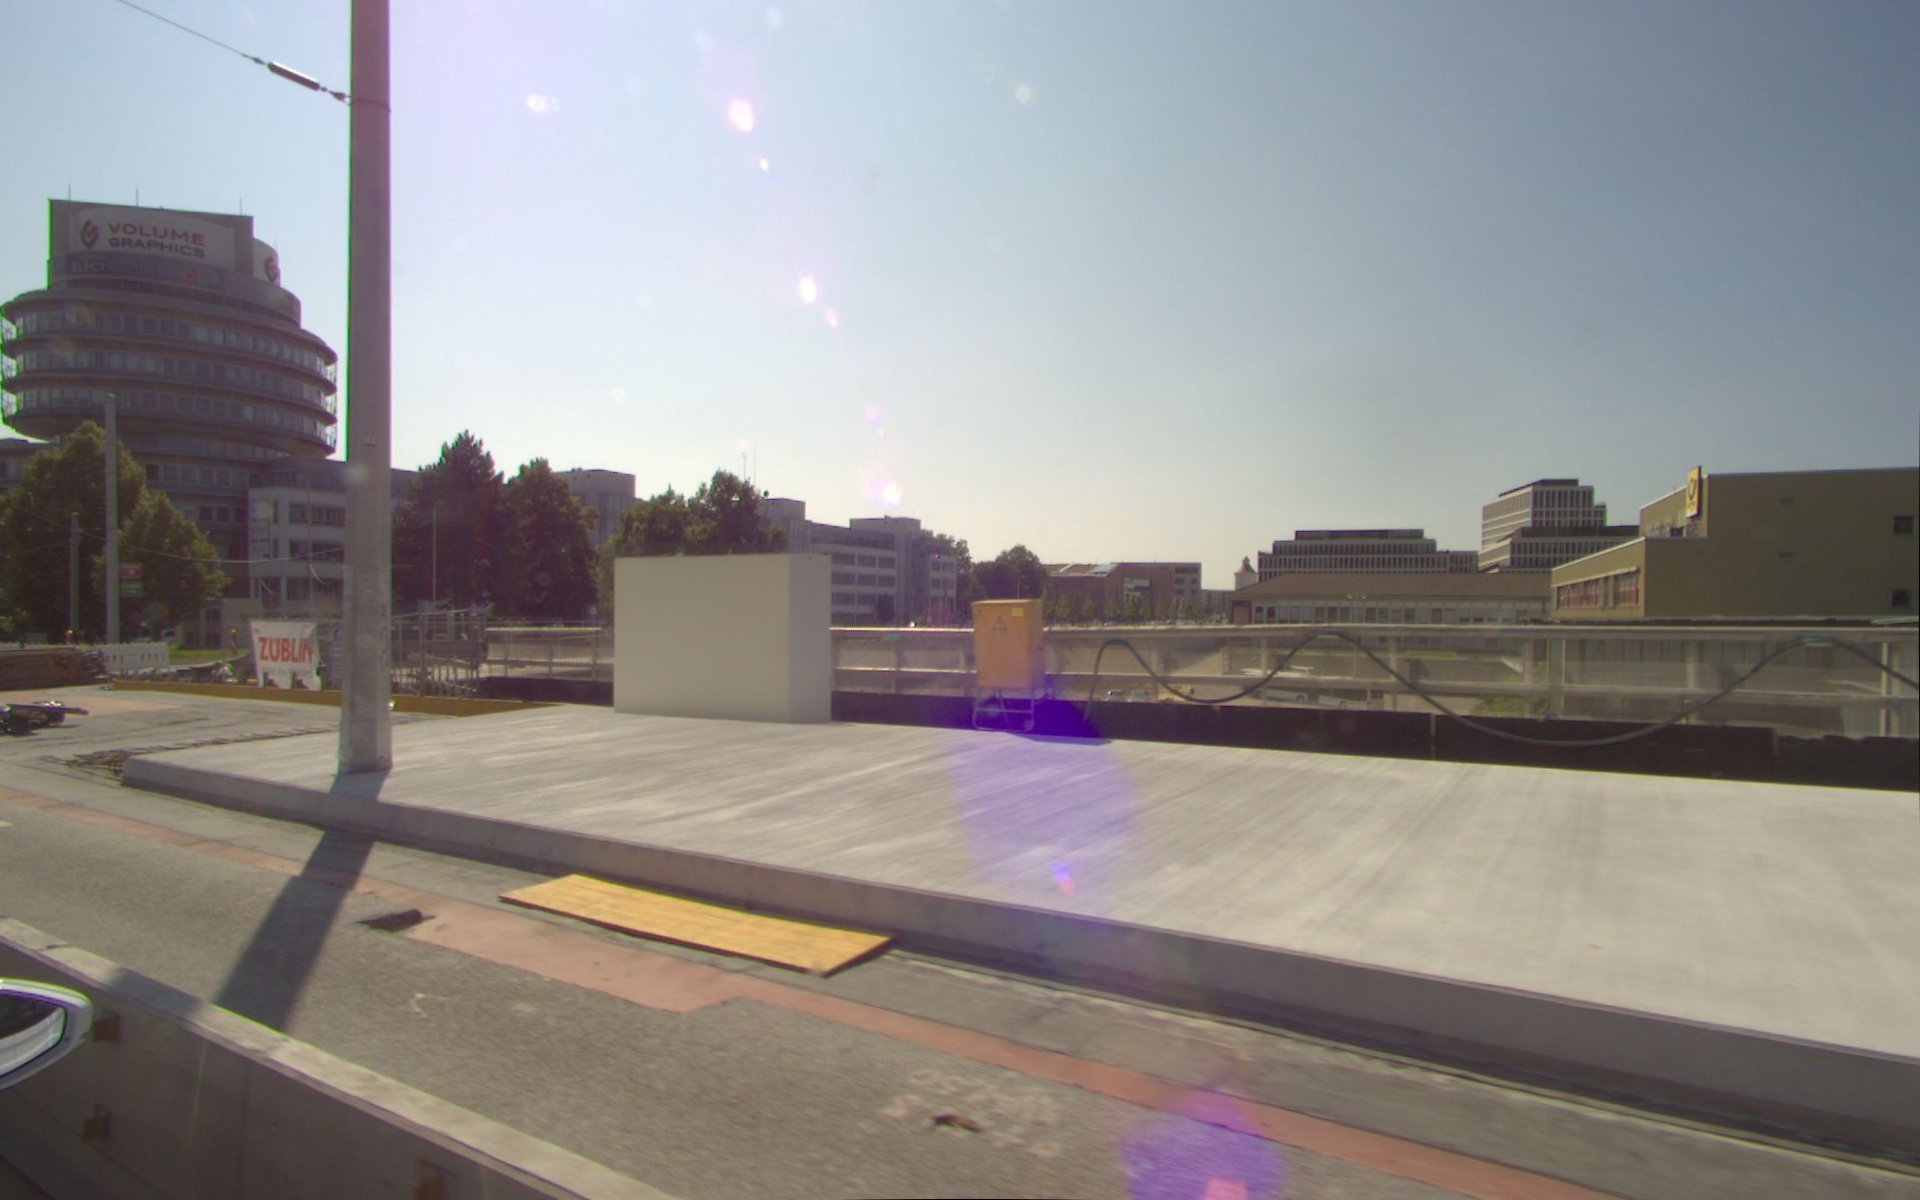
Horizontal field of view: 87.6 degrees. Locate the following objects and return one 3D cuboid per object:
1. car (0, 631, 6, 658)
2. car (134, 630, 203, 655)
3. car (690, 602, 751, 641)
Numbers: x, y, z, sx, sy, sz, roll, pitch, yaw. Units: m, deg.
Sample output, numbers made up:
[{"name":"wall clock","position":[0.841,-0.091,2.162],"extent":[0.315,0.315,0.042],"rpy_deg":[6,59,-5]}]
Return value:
[{"name":"car","position":[-67.250,2.979,67.567],"extent":[1.657,1.821,3.808],"rpy_deg":[1,-2,32]},{"name":"car","position":[-61.084,3.305,77.345],"extent":[1.657,1.821,3.808],"rpy_deg":[1,-2,32]},{"name":"car","position":[-19.125,1.768,80.382],"extent":[2.302,2.924,5.968],"rpy_deg":[1,-1,13]}]
